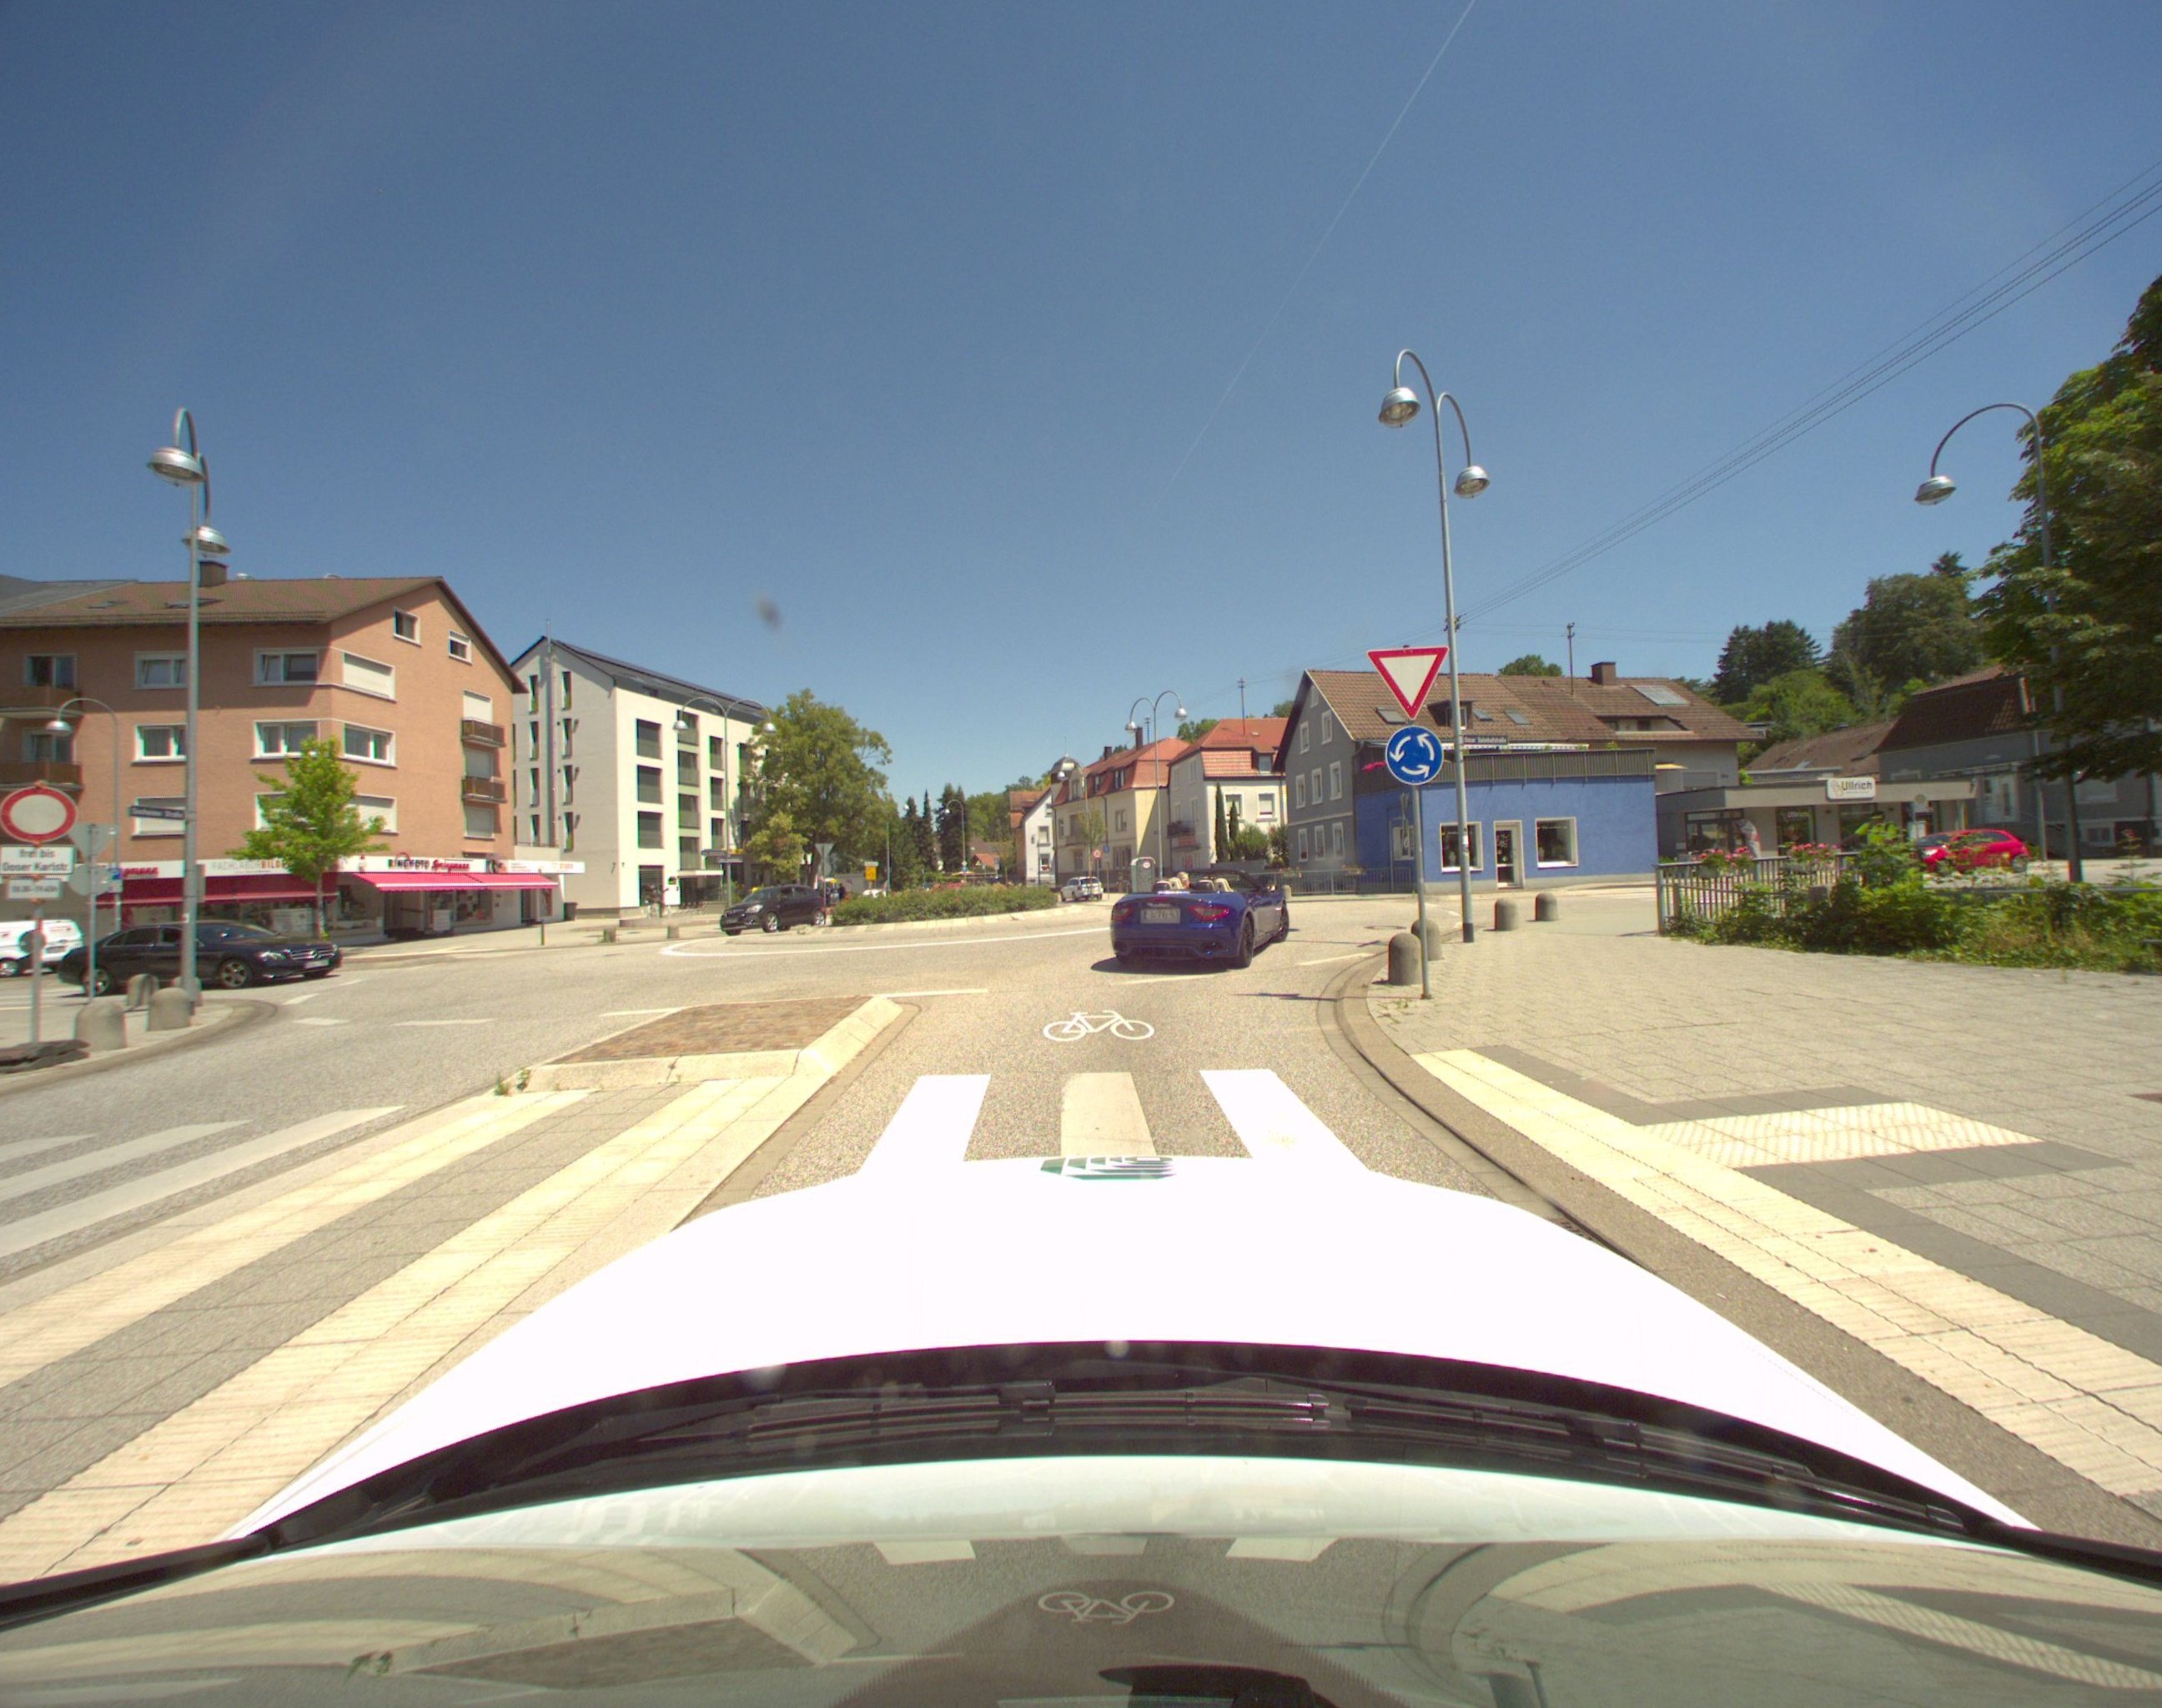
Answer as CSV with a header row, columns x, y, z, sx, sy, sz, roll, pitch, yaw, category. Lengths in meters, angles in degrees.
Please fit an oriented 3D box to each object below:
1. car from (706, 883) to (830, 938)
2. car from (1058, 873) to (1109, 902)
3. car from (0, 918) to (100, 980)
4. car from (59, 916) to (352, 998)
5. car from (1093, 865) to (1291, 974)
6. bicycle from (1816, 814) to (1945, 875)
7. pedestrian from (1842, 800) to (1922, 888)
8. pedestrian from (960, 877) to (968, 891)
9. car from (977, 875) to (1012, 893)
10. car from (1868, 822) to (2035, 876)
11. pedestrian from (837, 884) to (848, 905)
x,y,z,sx,sy,sz,roll,pitch,yaw,category
-10.864,1.923,28.586,1.783,1.642,4.078,-3,-2,19,car
0.126,2.099,50.274,1.923,1.613,4.122,-2,-3,-18,car
-34.397,3.070,25.748,3.993,1.750,1.793,-3,-1,-15,car
-19.080,2.218,17.901,4.478,1.403,1.779,-3,-1,0,car
1.905,0.876,12.534,1.893,1.360,4.309,-2,-2,23,car
15.425,-0.174,15.735,1.841,1.083,0.745,-3,-1,-6,bicycle
15.456,-0.176,15.736,0.715,1.632,0.745,-3,-2,-6,pedestrian
-13.198,3.353,91.961,0.614,1.585,0.582,-2,-2,-24,pedestrian
-8.266,2.858,77.677,1.861,1.588,3.963,-3,-1,-28,car
29.127,-0.129,27.332,3.656,1.552,1.776,-3,-2,-1,car
-18.089,3.090,61.724,0.531,1.576,0.564,-3,-2,13,pedestrian
